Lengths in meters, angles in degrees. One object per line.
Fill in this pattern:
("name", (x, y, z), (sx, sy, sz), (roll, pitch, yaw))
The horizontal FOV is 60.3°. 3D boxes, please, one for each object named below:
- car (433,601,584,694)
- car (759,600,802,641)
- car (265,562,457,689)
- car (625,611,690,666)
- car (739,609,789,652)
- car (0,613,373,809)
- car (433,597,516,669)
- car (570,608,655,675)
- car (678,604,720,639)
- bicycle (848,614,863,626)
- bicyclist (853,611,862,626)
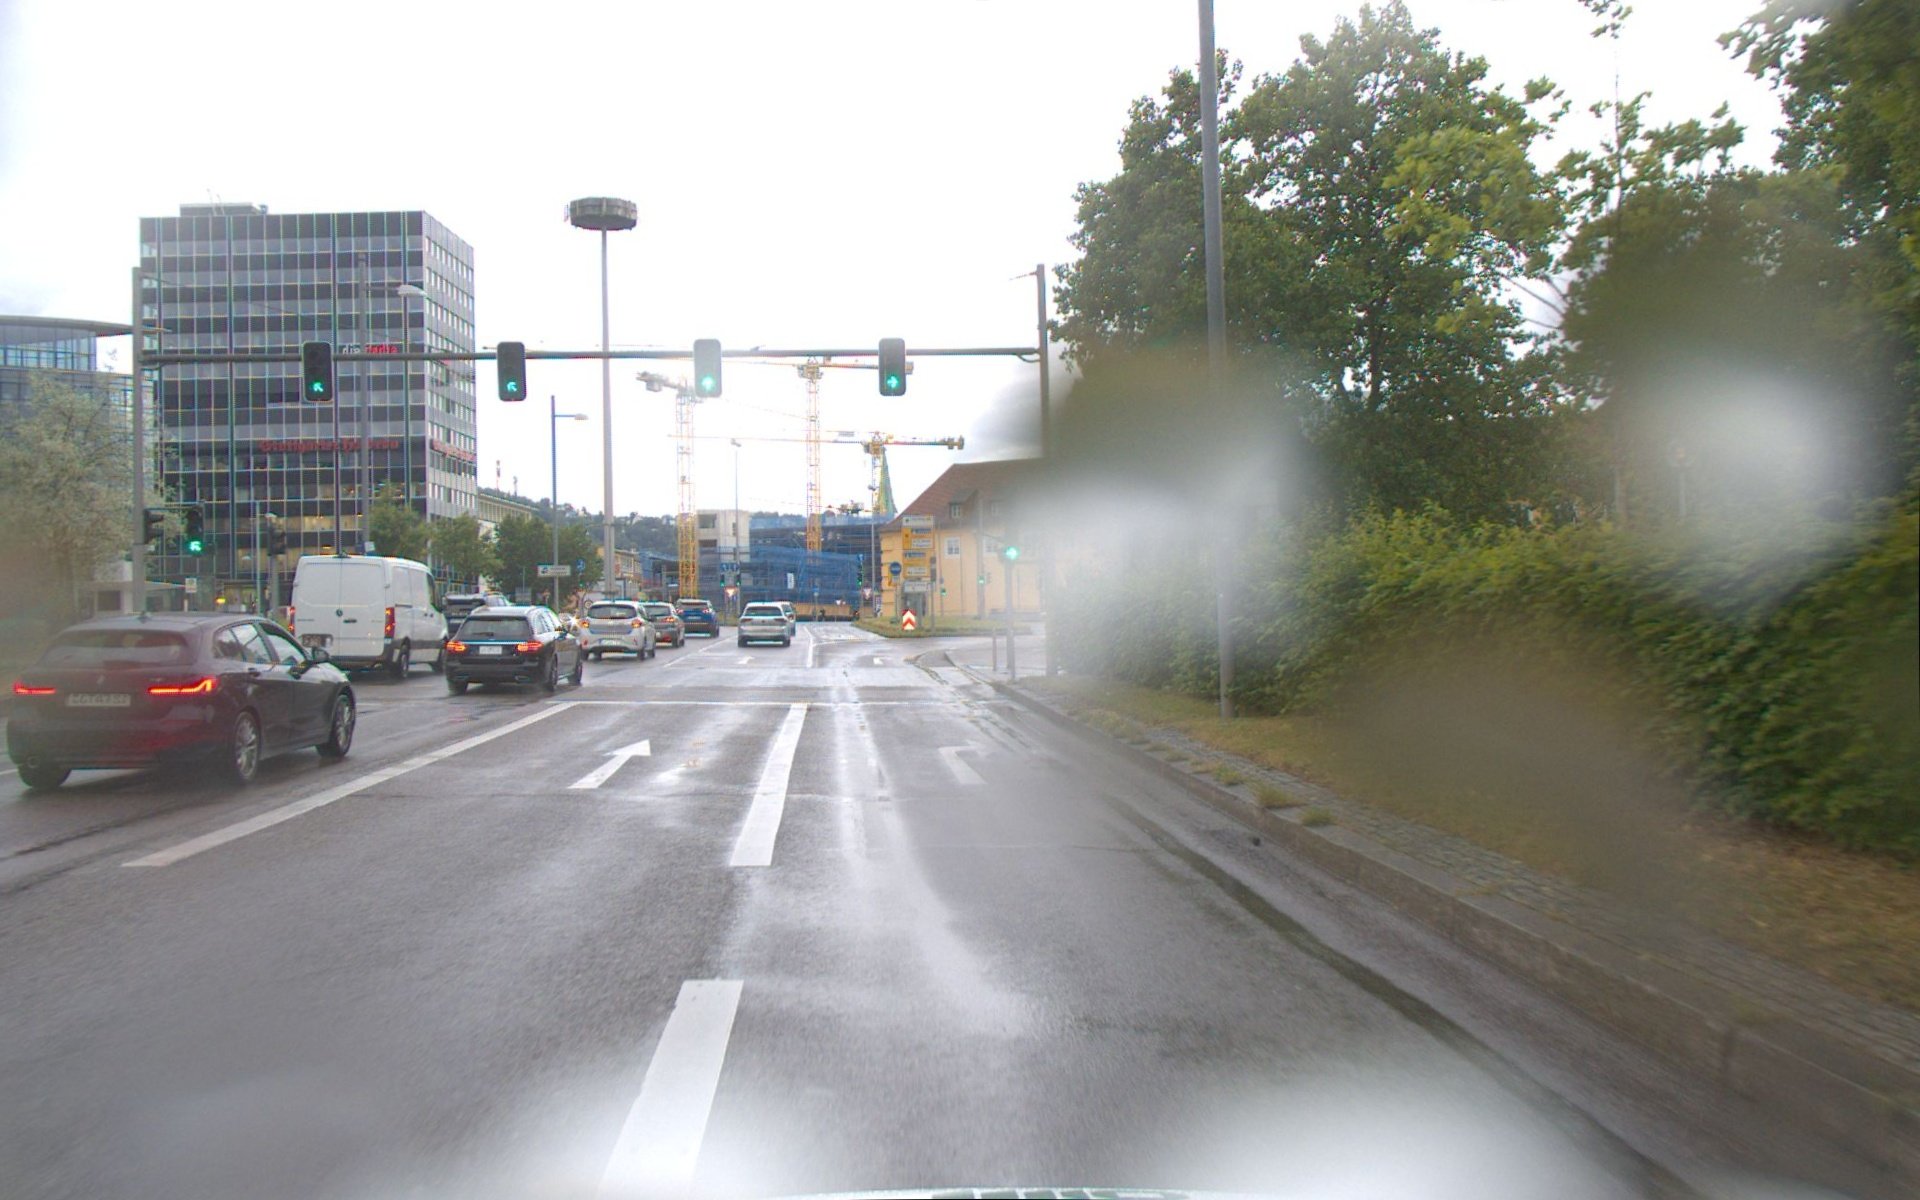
("car", (-7.808, 0.841, 28.904), (1.793, 1.521, 3.397), (0, -2, -2))
("car", (-8.159, 0.904, 75.378), (1.633, 1.772, 3.287), (1, 1, 0))
("car", (-11.816, 0.557, 33.046), (2.247, 2.355, 5.001), (0, -2, -3))
("car", (-9.896, 1.278, 54.297), (1.682, 1.758, 3.491), (0, -2, -4))
("car", (-6.552, 1.030, 55.400), (1.415, 1.383, 2.411), (0, -2, -1))
("car", (-6.798, 0.878, 15.067), (1.719, 1.497, 4.218), (0, 0, -5))
("car", (-12.237, 0.856, 41.858), (1.436, 1.736, 3.137), (0, -2, -6))
("car", (-9.068, 1.115, 43.384), (1.844, 1.682, 3.452), (0, -2, -7))
("car", (-10.765, 0.915, 68.422), (1.464, 1.393, 3.030), (0, -2, -4))
("bicycle", (-9.461, 1.830, 149.980), (0.867, 1.028, 1.981), (1, -2, -19))
("bicyclist", (-9.279, 1.668, 149.667), (0.693, 1.298, 0.631), (1, -2, -20))
